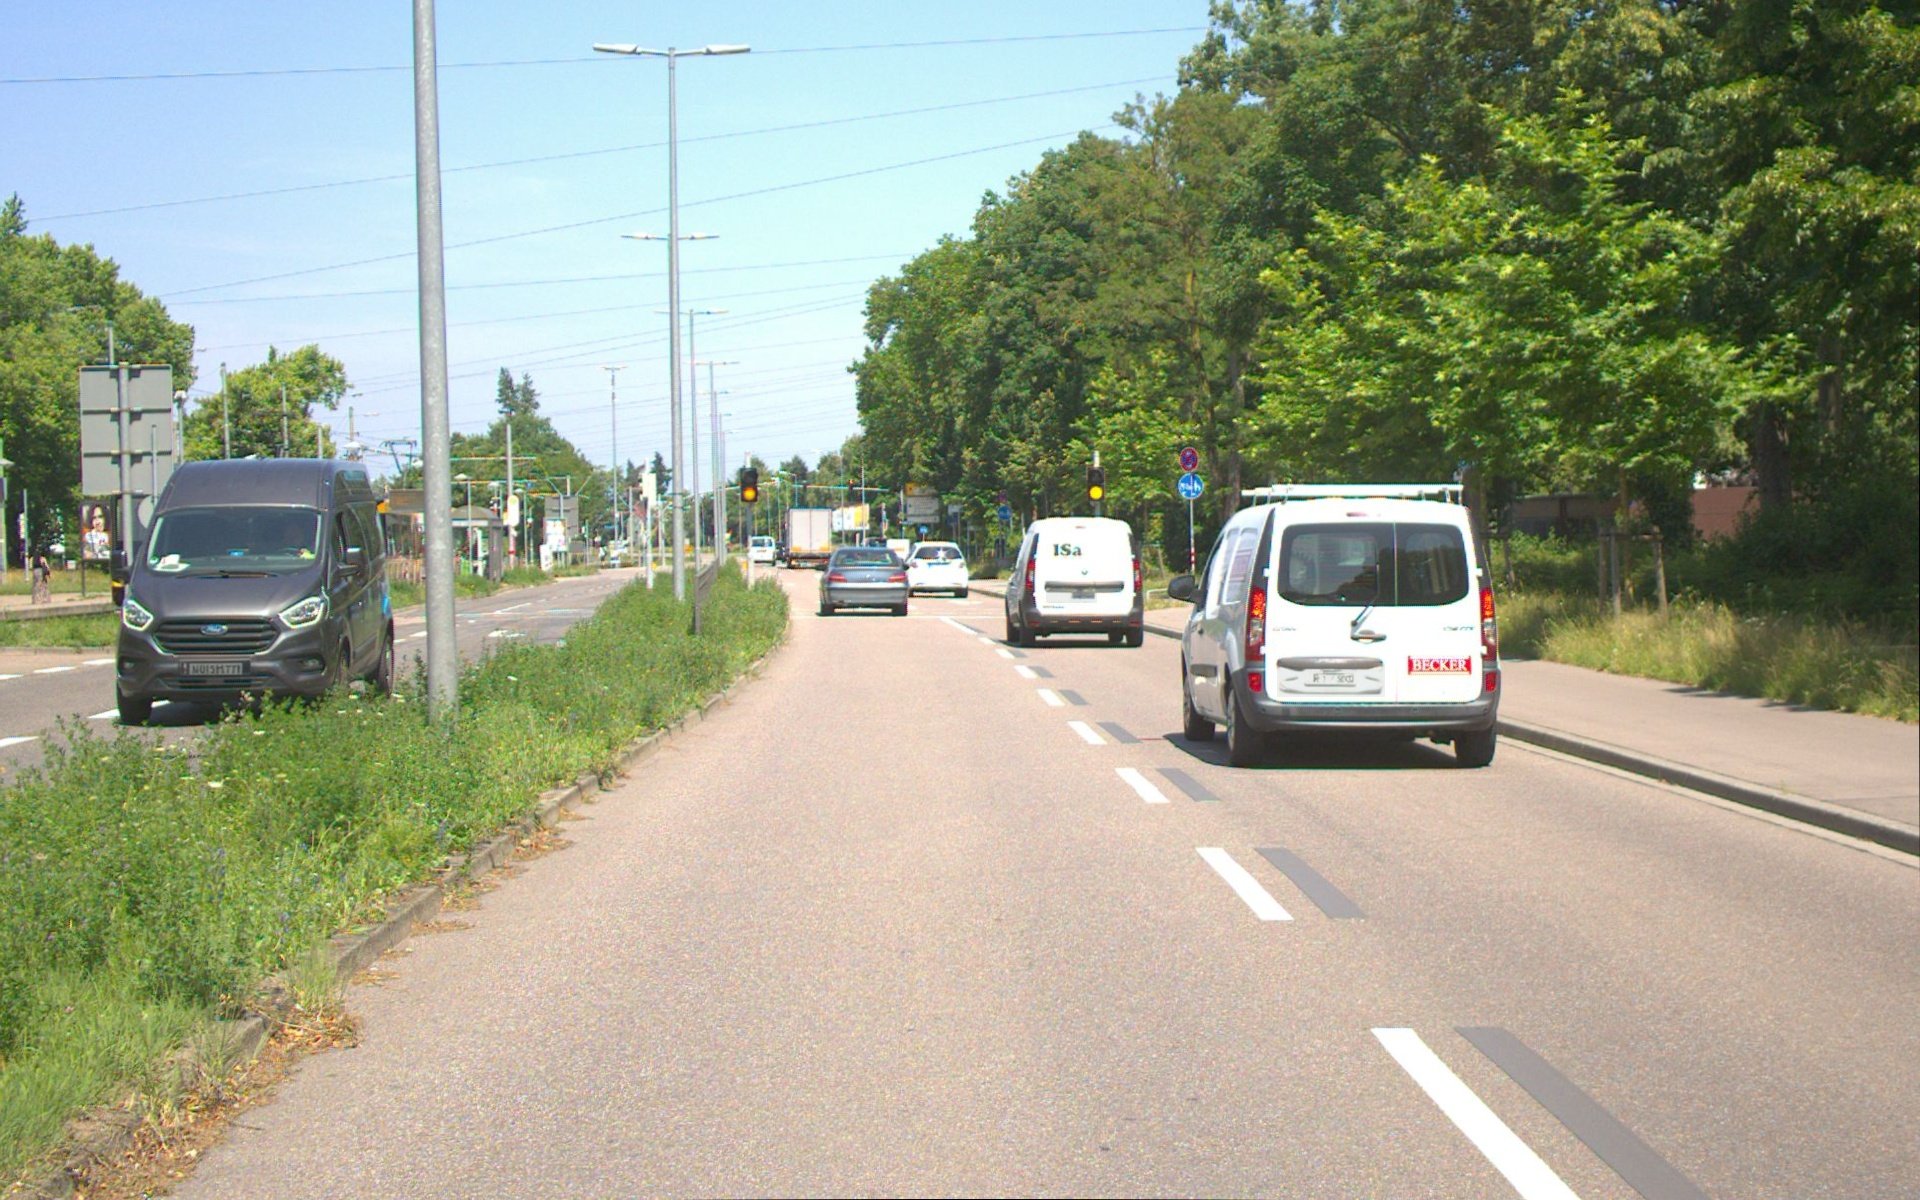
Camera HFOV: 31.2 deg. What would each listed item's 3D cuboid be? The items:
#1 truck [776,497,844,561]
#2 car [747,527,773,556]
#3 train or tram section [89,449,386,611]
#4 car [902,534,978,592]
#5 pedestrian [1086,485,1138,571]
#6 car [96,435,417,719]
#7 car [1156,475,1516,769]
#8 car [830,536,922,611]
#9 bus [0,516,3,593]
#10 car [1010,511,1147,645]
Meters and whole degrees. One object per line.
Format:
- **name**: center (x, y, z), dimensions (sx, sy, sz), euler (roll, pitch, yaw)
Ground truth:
- **truck**: center (-9.367, -4.414, 213.491), dimensions (3.898, 3.800, 10.794), euler (-1, 1, -4)
- **car**: center (-13.358, -3.891, 229.360), dimensions (1.687, 1.891, 3.871), euler (-1, 1, -4)
- **train or tram section**: center (-19.513, -1.880, 96.672), dimensions (2.787, 3.655, 37.524), euler (0, 1, -4)
- **car**: center (-0.565, -1.033, 94.524), dimensions (1.803, 1.534, 4.001), euler (0, 1, -4)
- **pedestrian**: center (3.265, -1.537, 73.853), dimensions (1.046, 1.844, 0.757), euler (0, 1, 8)
- **car**: center (-6.394, -0.252, 31.889), dimensions (1.993, 2.358, 5.373), euler (-2, 1, -2)
- **car**: center (2.536, 0.102, 24.229), dimensions (1.824, 1.875, 4.456), euler (0, 1, -3)
- **car**: center (-1.724, -0.554, 69.876), dimensions (1.801, 1.481, 4.000), euler (0, 1, -2)
- **bus**: center (-48.436, -2.091, 160.498), dimensions (7.541, 3.554, 1.998), euler (0, 1, 22)
- **car**: center (1.643, -0.350, 48.710), dimensions (1.728, 1.807, 4.000), euler (0, 1, -1)
